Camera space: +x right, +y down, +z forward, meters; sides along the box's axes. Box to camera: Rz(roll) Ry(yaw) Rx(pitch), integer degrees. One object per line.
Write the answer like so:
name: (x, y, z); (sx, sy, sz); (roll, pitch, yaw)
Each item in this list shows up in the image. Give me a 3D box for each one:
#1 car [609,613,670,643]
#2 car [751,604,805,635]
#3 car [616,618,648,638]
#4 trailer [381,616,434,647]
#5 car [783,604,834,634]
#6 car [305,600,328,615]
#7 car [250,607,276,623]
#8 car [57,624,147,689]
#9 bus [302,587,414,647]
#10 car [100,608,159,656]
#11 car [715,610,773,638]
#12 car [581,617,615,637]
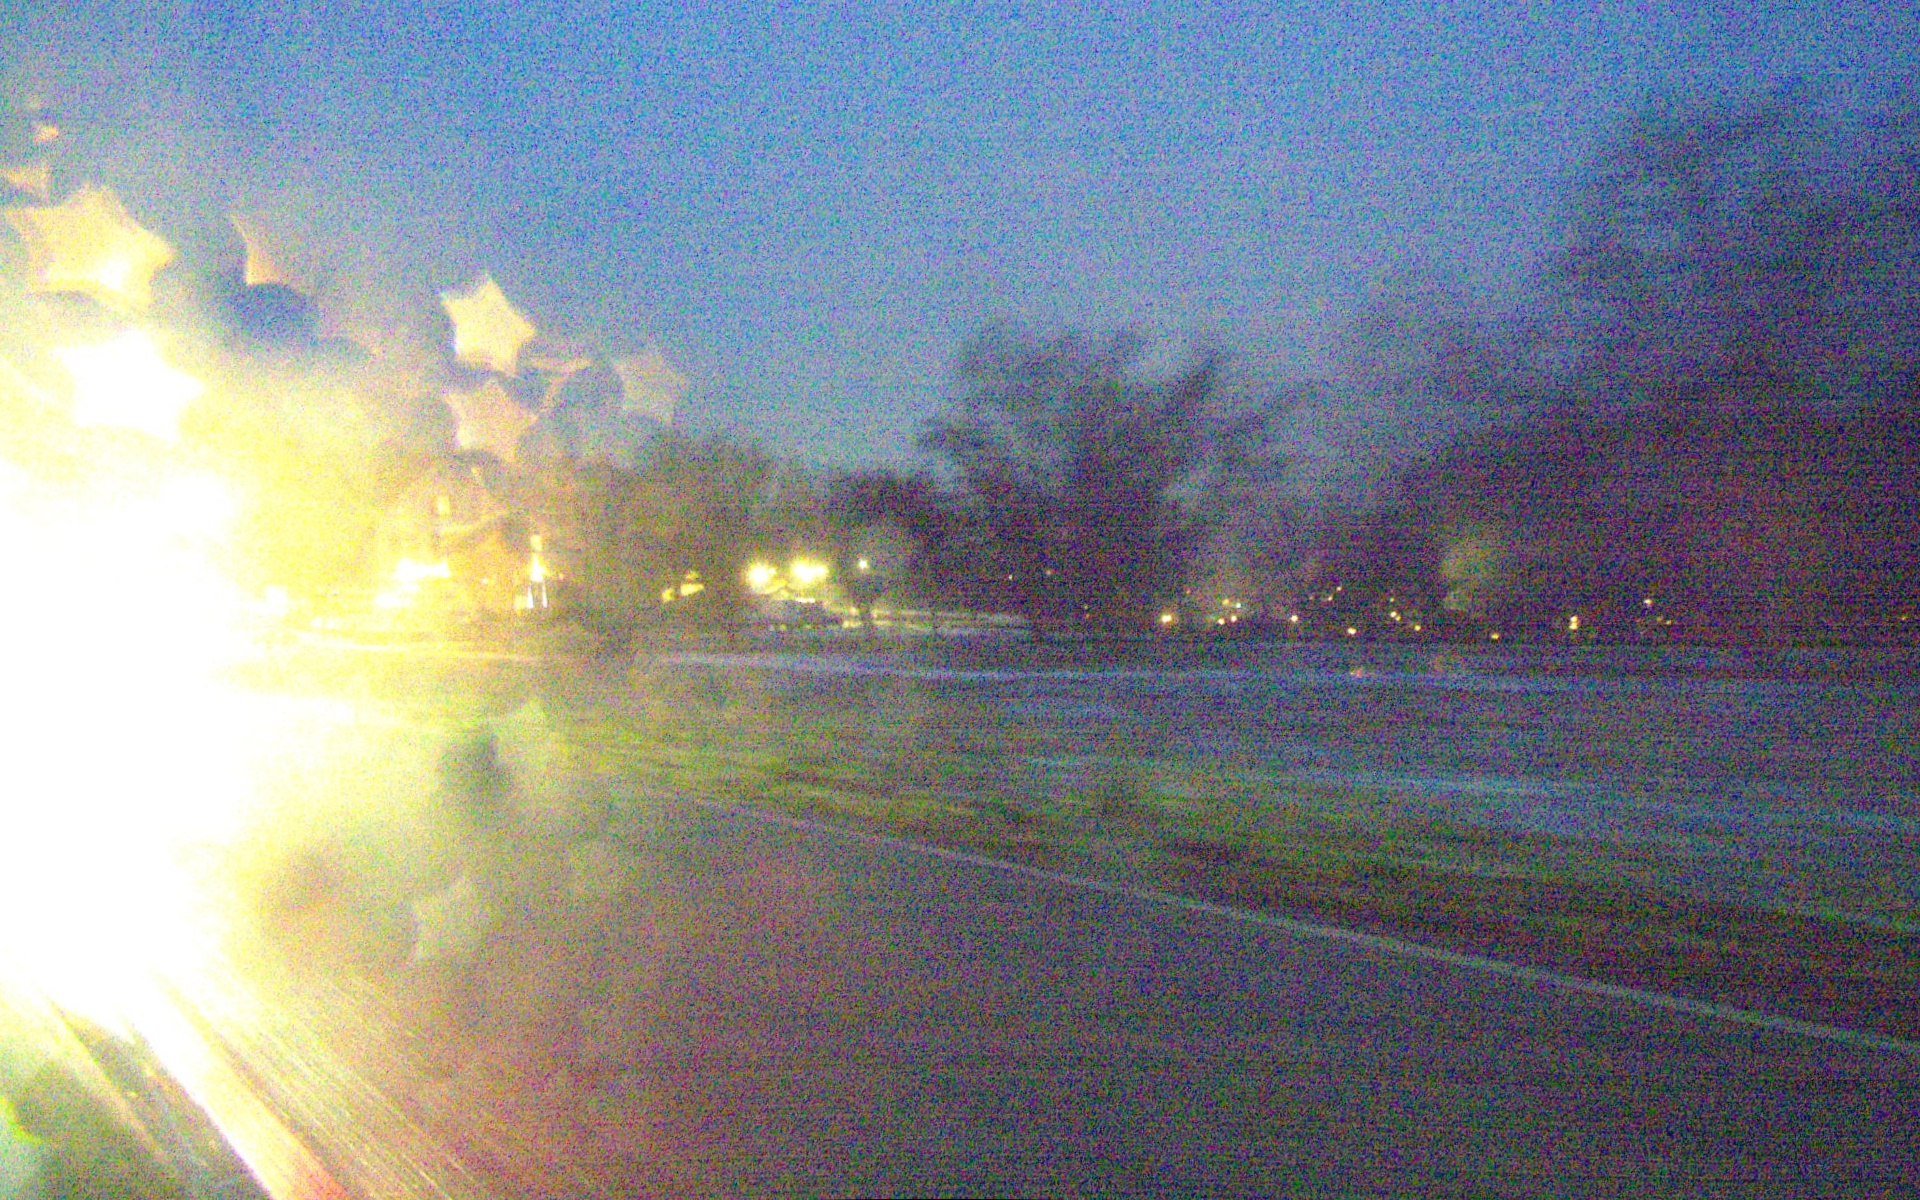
car: (-21.698, 1.840, 68.397); (4.629, 1.709, 1.915); (2, 4, 44)
car: (-13.807, 1.457, 76.595); (3.999, 2.071, 1.973); (2, 4, 41)
car: (-29.037, 2.478, 89.717); (1.833, 1.408, 4.045); (2, 2, -5)
trailer: (-31.237, 1.745, 57.175); (1.790, 1.690, 4.107); (2, -2, -40)
car: (-11.669, 1.454, 77.941); (3.999, 2.071, 1.740); (2, 4, 41)
car: (-72.061, 0.790, 113.358); (1.671, 1.611, 3.813); (0, 1, -25)
car: (-65.947, 1.445, 95.793); (1.612, 1.522, 4.130); (2, -2, -29)
car: (-21.725, 1.367, 25.661); (1.615, 1.521, 4.102); (1, -2, -40)
bus: (-42.922, 1.072, 71.873); (13.052, 3.897, 2.863); (0, 1, 41)
car: (-38.645, 1.504, 47.181); (1.968, 2.029, 4.854); (-3, 0, -39)
car: (-15.921, 1.729, 74.475); (4.629, 1.709, 1.915); (2, 4, 44)
car: (-32.006, 2.335, 89.681); (1.833, 1.408, 4.045); (2, 2, -5)
